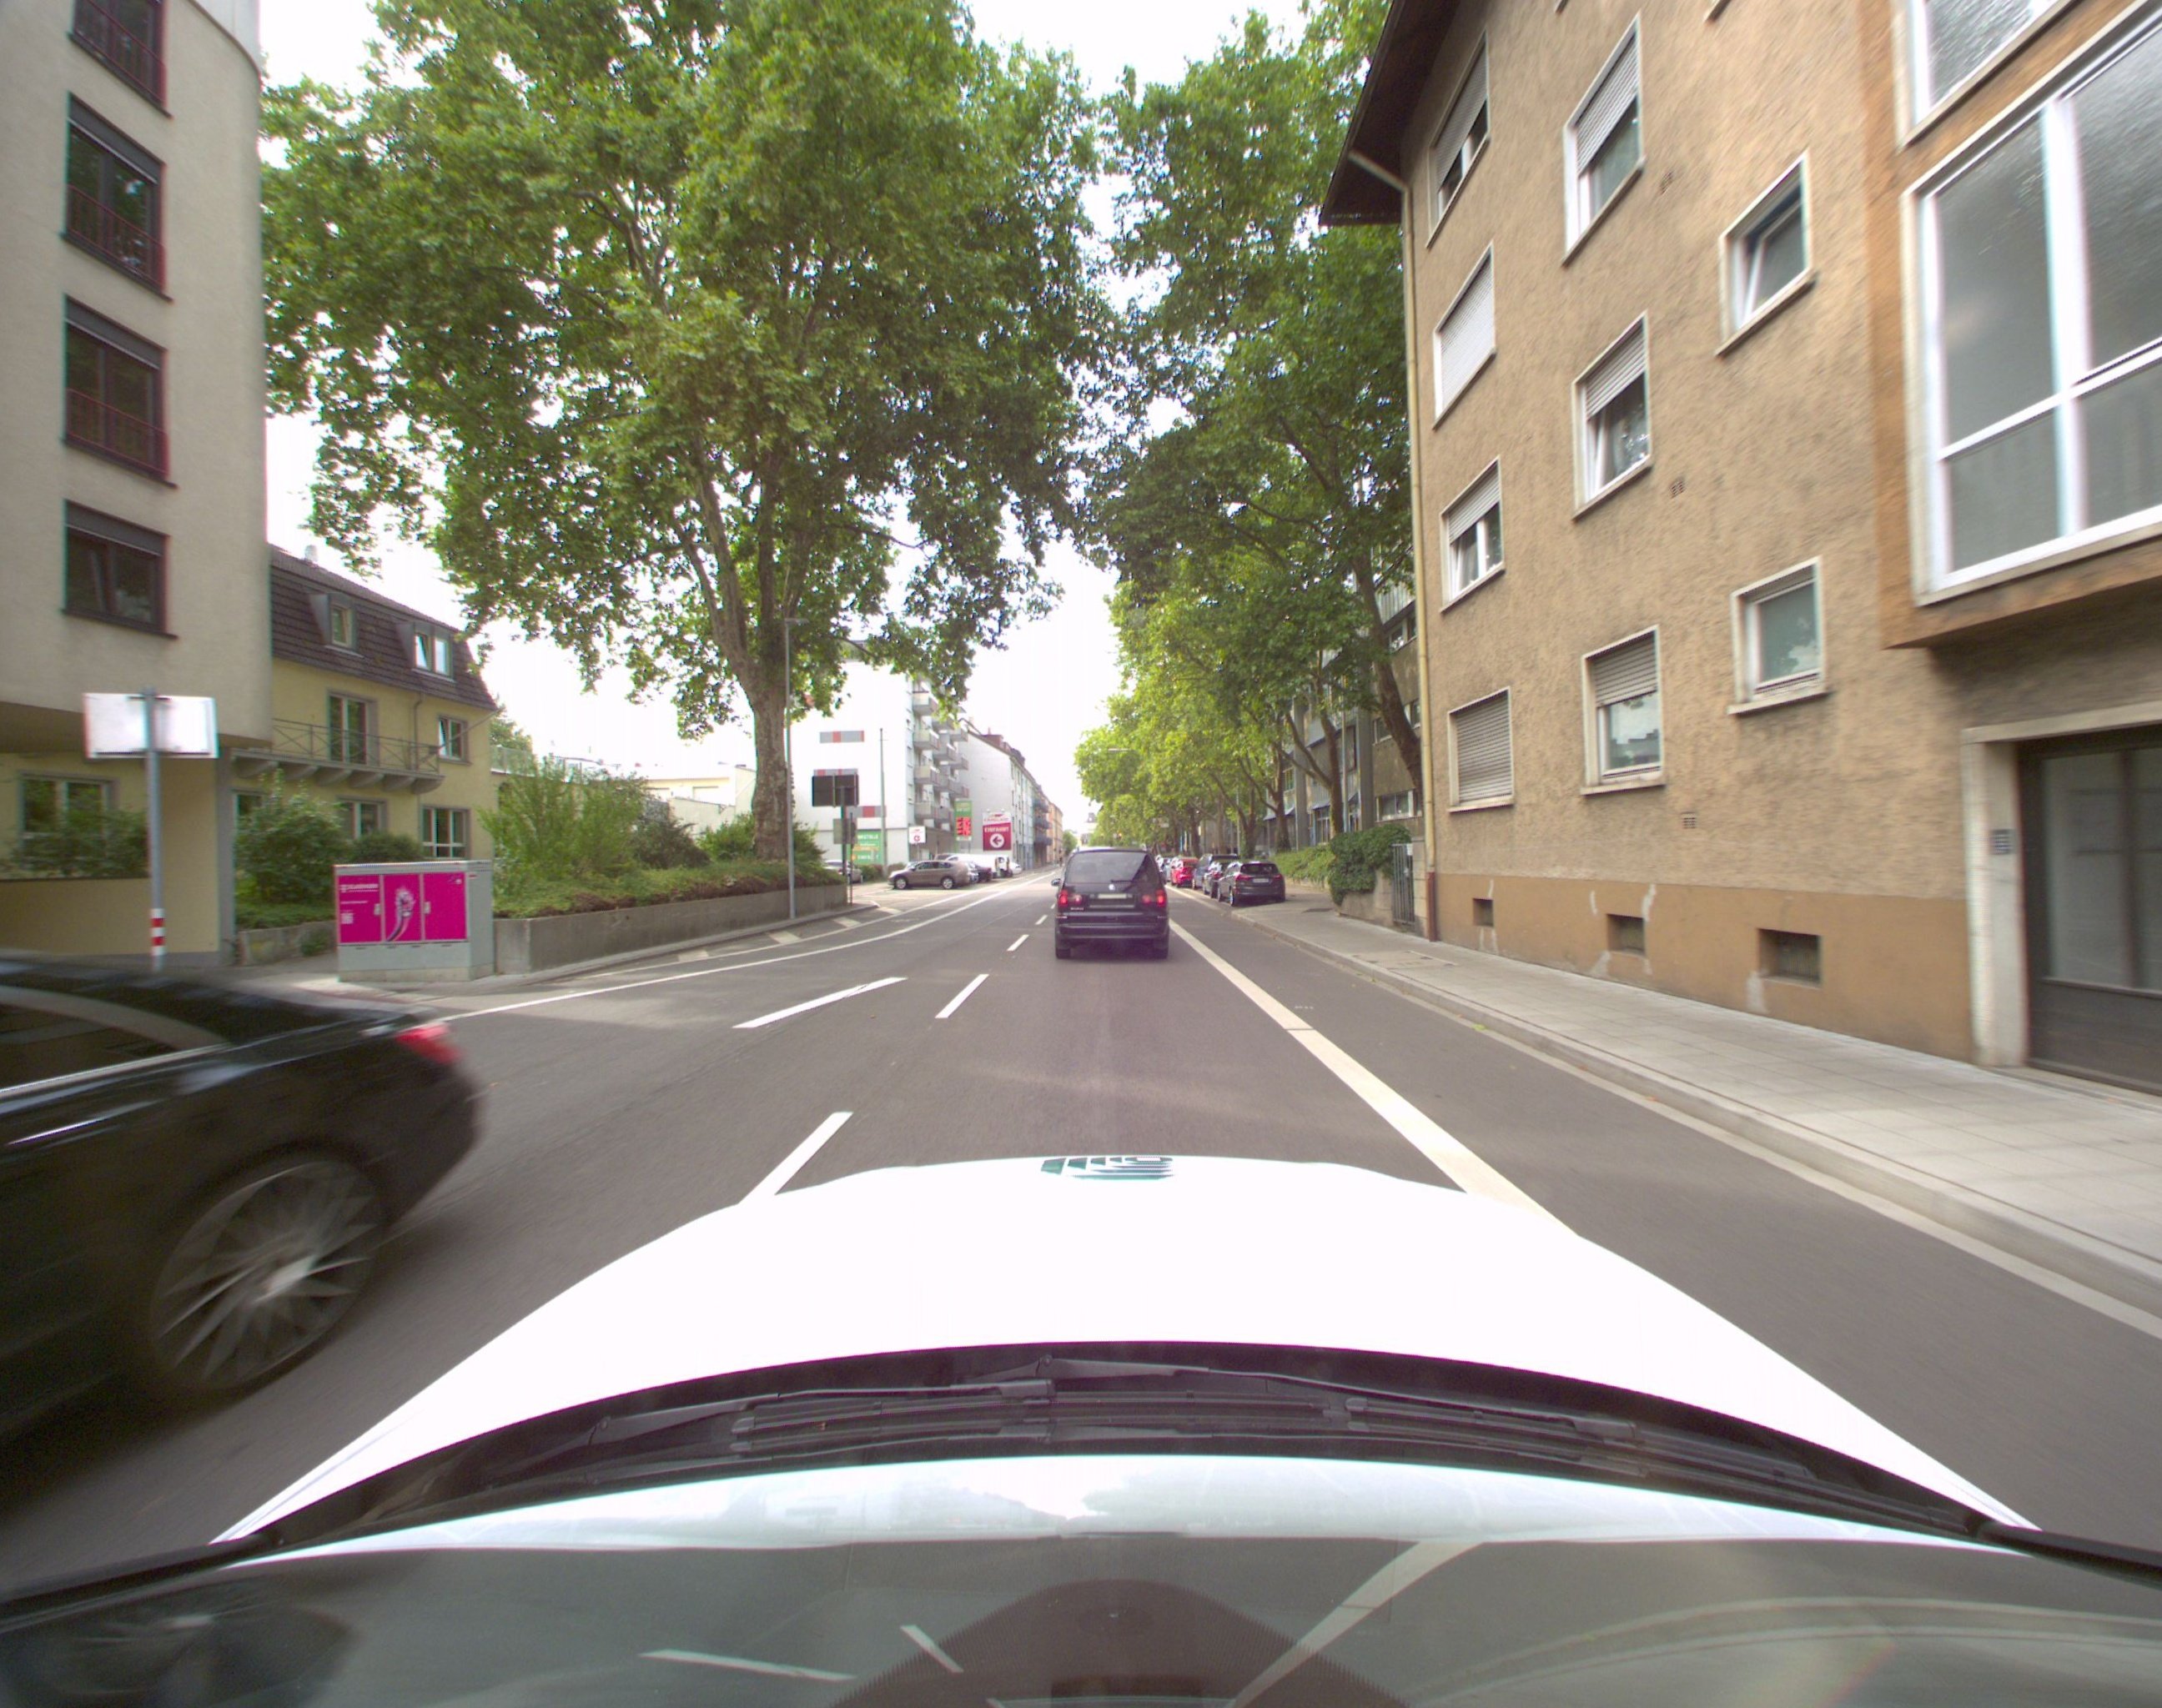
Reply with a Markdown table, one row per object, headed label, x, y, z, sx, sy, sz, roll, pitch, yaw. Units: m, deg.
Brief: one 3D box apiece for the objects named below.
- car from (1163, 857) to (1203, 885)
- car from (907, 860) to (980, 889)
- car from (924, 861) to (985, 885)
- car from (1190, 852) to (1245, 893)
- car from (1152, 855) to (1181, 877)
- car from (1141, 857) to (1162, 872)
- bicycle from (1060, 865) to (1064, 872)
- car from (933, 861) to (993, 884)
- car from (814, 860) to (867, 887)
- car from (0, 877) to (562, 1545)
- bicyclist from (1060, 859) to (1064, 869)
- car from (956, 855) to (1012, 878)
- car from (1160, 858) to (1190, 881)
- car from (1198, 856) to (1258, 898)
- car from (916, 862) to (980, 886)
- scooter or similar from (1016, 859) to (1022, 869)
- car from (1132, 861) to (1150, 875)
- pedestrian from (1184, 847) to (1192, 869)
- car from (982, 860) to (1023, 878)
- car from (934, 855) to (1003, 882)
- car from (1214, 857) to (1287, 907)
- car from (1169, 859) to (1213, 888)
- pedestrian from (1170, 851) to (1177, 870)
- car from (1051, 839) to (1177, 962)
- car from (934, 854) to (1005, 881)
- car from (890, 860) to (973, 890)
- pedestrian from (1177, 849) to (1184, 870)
| label | x | y | z | sx | sy | sz | roll | pitch | yaw |
| --- | --- | --- | --- | --- | --- | --- | --- | --- | --- |
| car | 5.845 | 0.940 | 47.233 | 1.722 | 1.517 | 4.871 | -1 | 0 | 0 |
| car | -8.074 | 1.193 | 48.121 | 3.924 | 1.569 | 1.755 | 0 | 0 | 3 |
| car | -8.123 | 1.206 | 52.512 | 3.670 | 1.485 | 1.753 | 0 | 0 | 0 |
| car | 5.993 | 0.762 | 36.144 | 1.652 | 1.650 | 4.419 | 0 | 1 | -1 |
| car | 5.991 | 0.811 | 57.398 | 1.624 | 1.470 | 4.317 | -1 | 0 | 0 |
| car | 6.515 | 0.975 | 75.947 | 1.669 | 1.394 | 4.462 | 0 | 0 | 2 |
| bicycle | -3.161 | 2.452 | 135.788 | 0.629 | 1.034 | 2.014 | 0 | -3 | -1 |
| car | -7.835 | 1.206 | 54.366 | 3.669 | 1.444 | 1.753 | 0 | 0 | 0 |
| car | -14.172 | 1.116 | 48.237 | 1.751 | 1.519 | 4.235 | 0 | 0 | 2 |
| car | -3.285 | 0.827 | 1.333 | 1.804 | 1.408 | 4.609 | -2 | 0 | 1 |
| bicyclist | -3.210 | 1.731 | 136.214 | 0.652 | 1.611 | 0.655 | 0 | -3 | -2 |
| car | -7.881 | 1.011 | 66.365 | 4.294 | 1.870 | 1.824 | 0 | -1 | -1 |
| car | 6.025 | 0.952 | 52.372 | 1.615 | 1.386 | 4.003 | 1 | 0 | 3 |
| car | 5.652 | 0.856 | 31.772 | 1.652 | 1.422 | 3.947 | -2 | 1 | 1 |
| car | -8.185 | 1.232 | 50.279 | 3.670 | 1.426 | 1.753 | 0 | 0 | 0 |
| scooter or similar | -6.858 | 1.054 | 89.724 | 0.630 | 1.034 | 2.011 | 0 | -3 | -5 |
| car | 6.742 | 1.558 | 91.530 | 1.637 | 1.413 | 3.413 | -1 | 0 | -2 |
| pedestrian | 9.421 | 0.342 | 71.682 | 0.640 | 1.975 | 0.692 | 0 | 1 | 2 |
| car | -6.596 | 1.257 | 68.660 | 3.333 | 1.497 | 1.595 | 0 | -1 | -1 |
| car | -7.857 | 0.994 | 57.241 | 4.509 | 1.878 | 2.048 | 0 | 0 | 2 |
| car | 5.523 | 0.857 | 26.936 | 1.652 | 1.422 | 3.867 | -2 | 1 | 1 |
| car | 5.564 | 0.964 | 41.619 | 1.670 | 1.394 | 4.461 | -1 | 0 | 0 |
| pedestrian | 8.205 | 0.561 | 71.996 | 0.585 | 1.702 | 0.508 | 0 | 1 | 2 |
| car | 0.491 | 0.686 | 13.656 | 1.806 | 1.766 | 3.738 | -1 | 0 | 0 |
| car | -8.141 | 0.971 | 59.805 | 4.899 | 1.903 | 2.000 | 1 | 0 | 0 |
| car | -8.353 | 1.158 | 45.776 | 4.240 | 1.605 | 1.969 | 0 | 1 | 1 |
| pedestrian | 8.828 | 0.506 | 72.048 | 0.585 | 1.838 | 0.692 | 0 | 1 | 2 |
